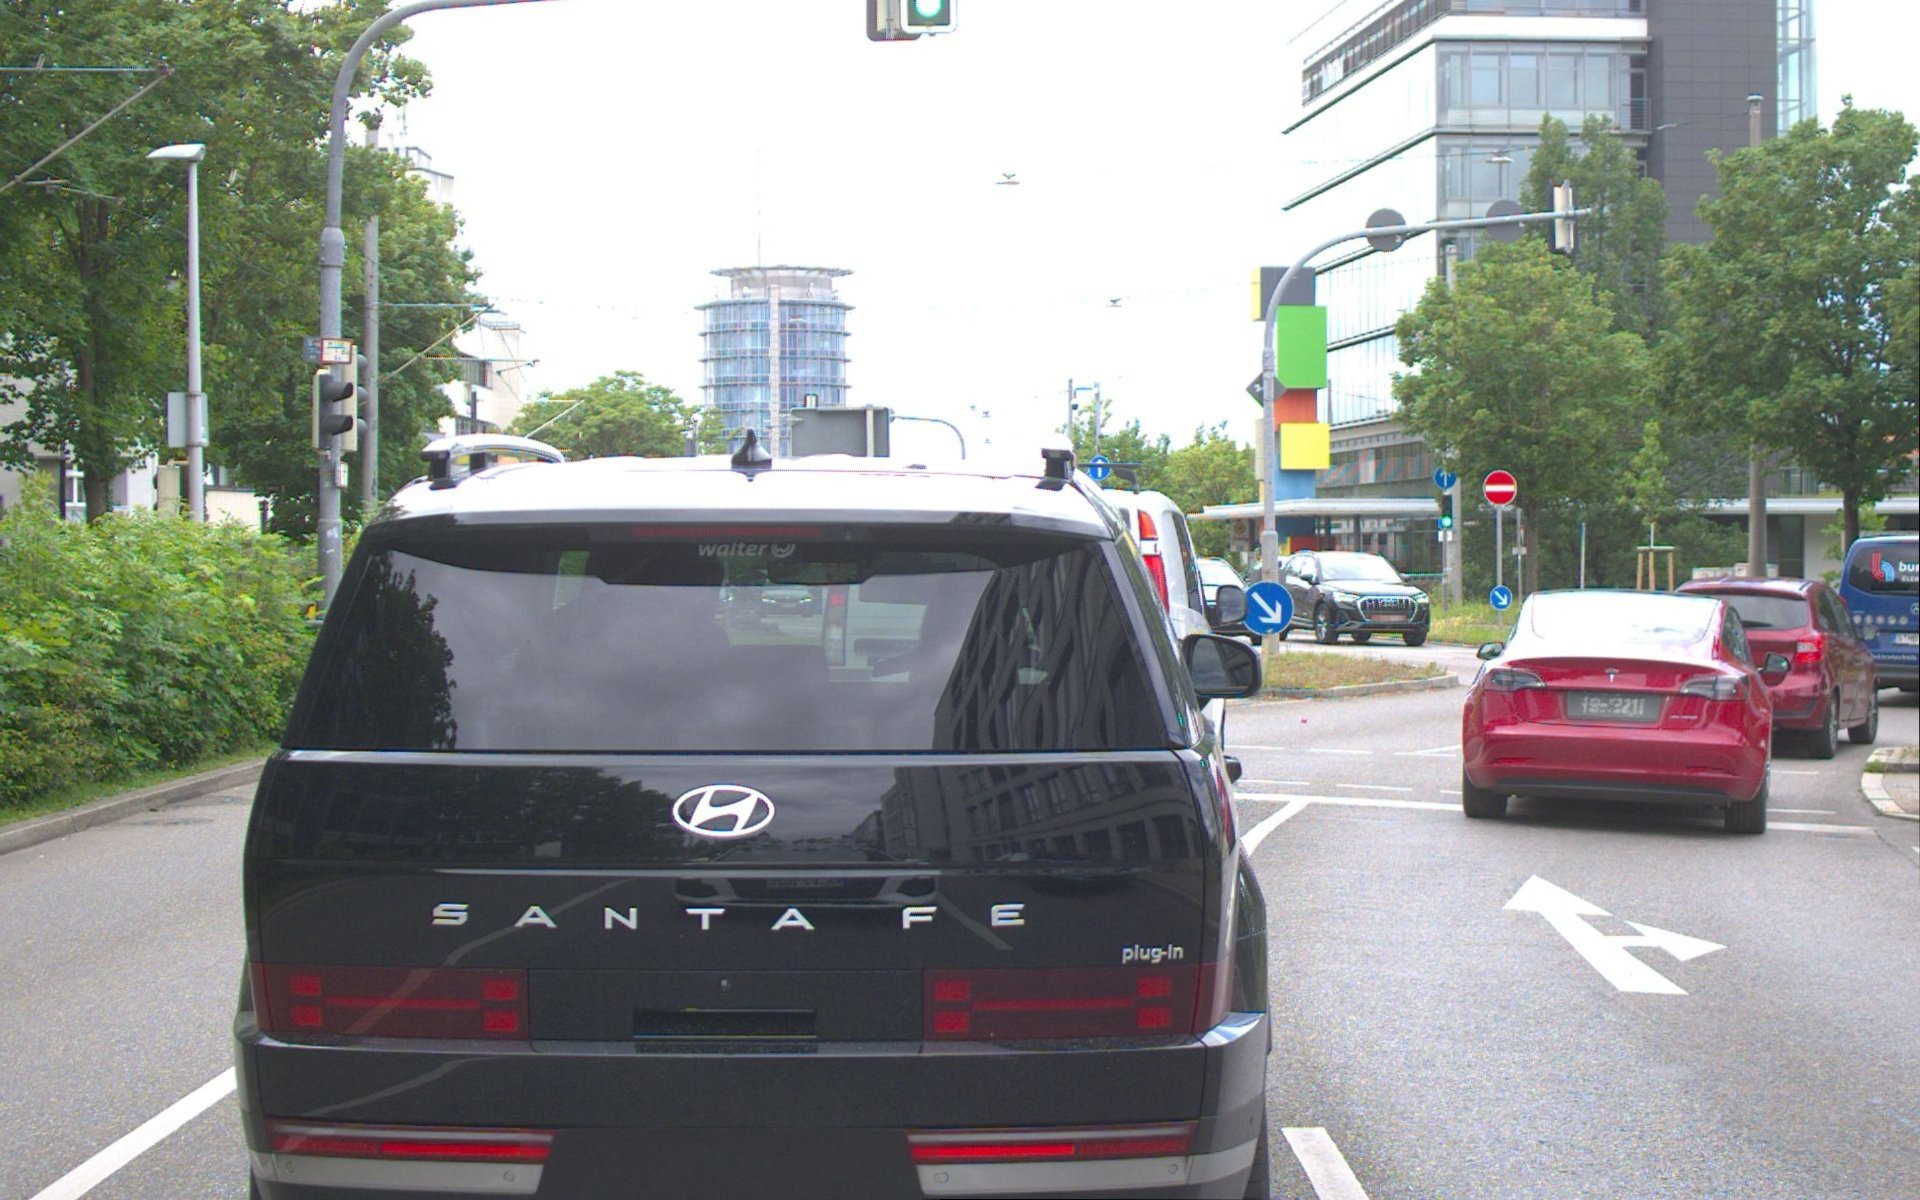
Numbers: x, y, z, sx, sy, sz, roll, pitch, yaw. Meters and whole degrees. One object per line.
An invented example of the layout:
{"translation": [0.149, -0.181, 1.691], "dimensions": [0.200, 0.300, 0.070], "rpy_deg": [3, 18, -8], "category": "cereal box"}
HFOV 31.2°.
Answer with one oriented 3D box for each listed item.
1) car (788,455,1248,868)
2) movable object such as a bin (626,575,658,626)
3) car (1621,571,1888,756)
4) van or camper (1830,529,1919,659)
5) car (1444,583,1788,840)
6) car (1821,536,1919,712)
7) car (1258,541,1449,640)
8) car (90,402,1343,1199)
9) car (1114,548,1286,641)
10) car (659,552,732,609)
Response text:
{"translation": [0.465, 0.267, 19.108], "dimensions": [1.903, 1.962, 4.634], "rpy_deg": [2, 1, 9], "category": "car"}
{"translation": [-6.329, 0.012, 68.461], "dimensions": [0.563, 1.009, 0.838], "rpy_deg": [0, 1, -10], "category": "movable object such as a bin"}
{"translation": [7.057, 0.506, 30.295], "dimensions": [1.746, 1.476, 3.714], "rpy_deg": [2, 1, 21], "category": "car"}
{"translation": [15.262, -0.121, 54.062], "dimensions": [1.993, 1.911, 4.409], "rpy_deg": [1, 2, 0], "category": "van or camper"}
{"translation": [4.340, 0.631, 22.244], "dimensions": [1.874, 1.413, 4.439], "rpy_deg": [2, 1, 14], "category": "car"}
{"translation": [11.250, 0.262, 38.984], "dimensions": [1.905, 1.853, 4.703], "rpy_deg": [2, 1, 26], "category": "car"}
{"translation": [6.777, -0.187, 59.693], "dimensions": [1.887, 1.559, 4.397], "rpy_deg": [1, 1, -13], "category": "car"}
{"translation": [-0.407, 0.548, 7.533], "dimensions": [1.902, 1.725, 4.446], "rpy_deg": [2, 1, -1], "category": "car"}
{"translation": [4.023, -0.124, 58.367], "dimensions": [1.782, 1.421, 4.397], "rpy_deg": [1, 1, -11], "category": "car"}
{"translation": [-7.837, -0.588, 101.629], "dimensions": [1.782, 1.532, 4.397], "rpy_deg": [1, 1, -9], "category": "car"}
